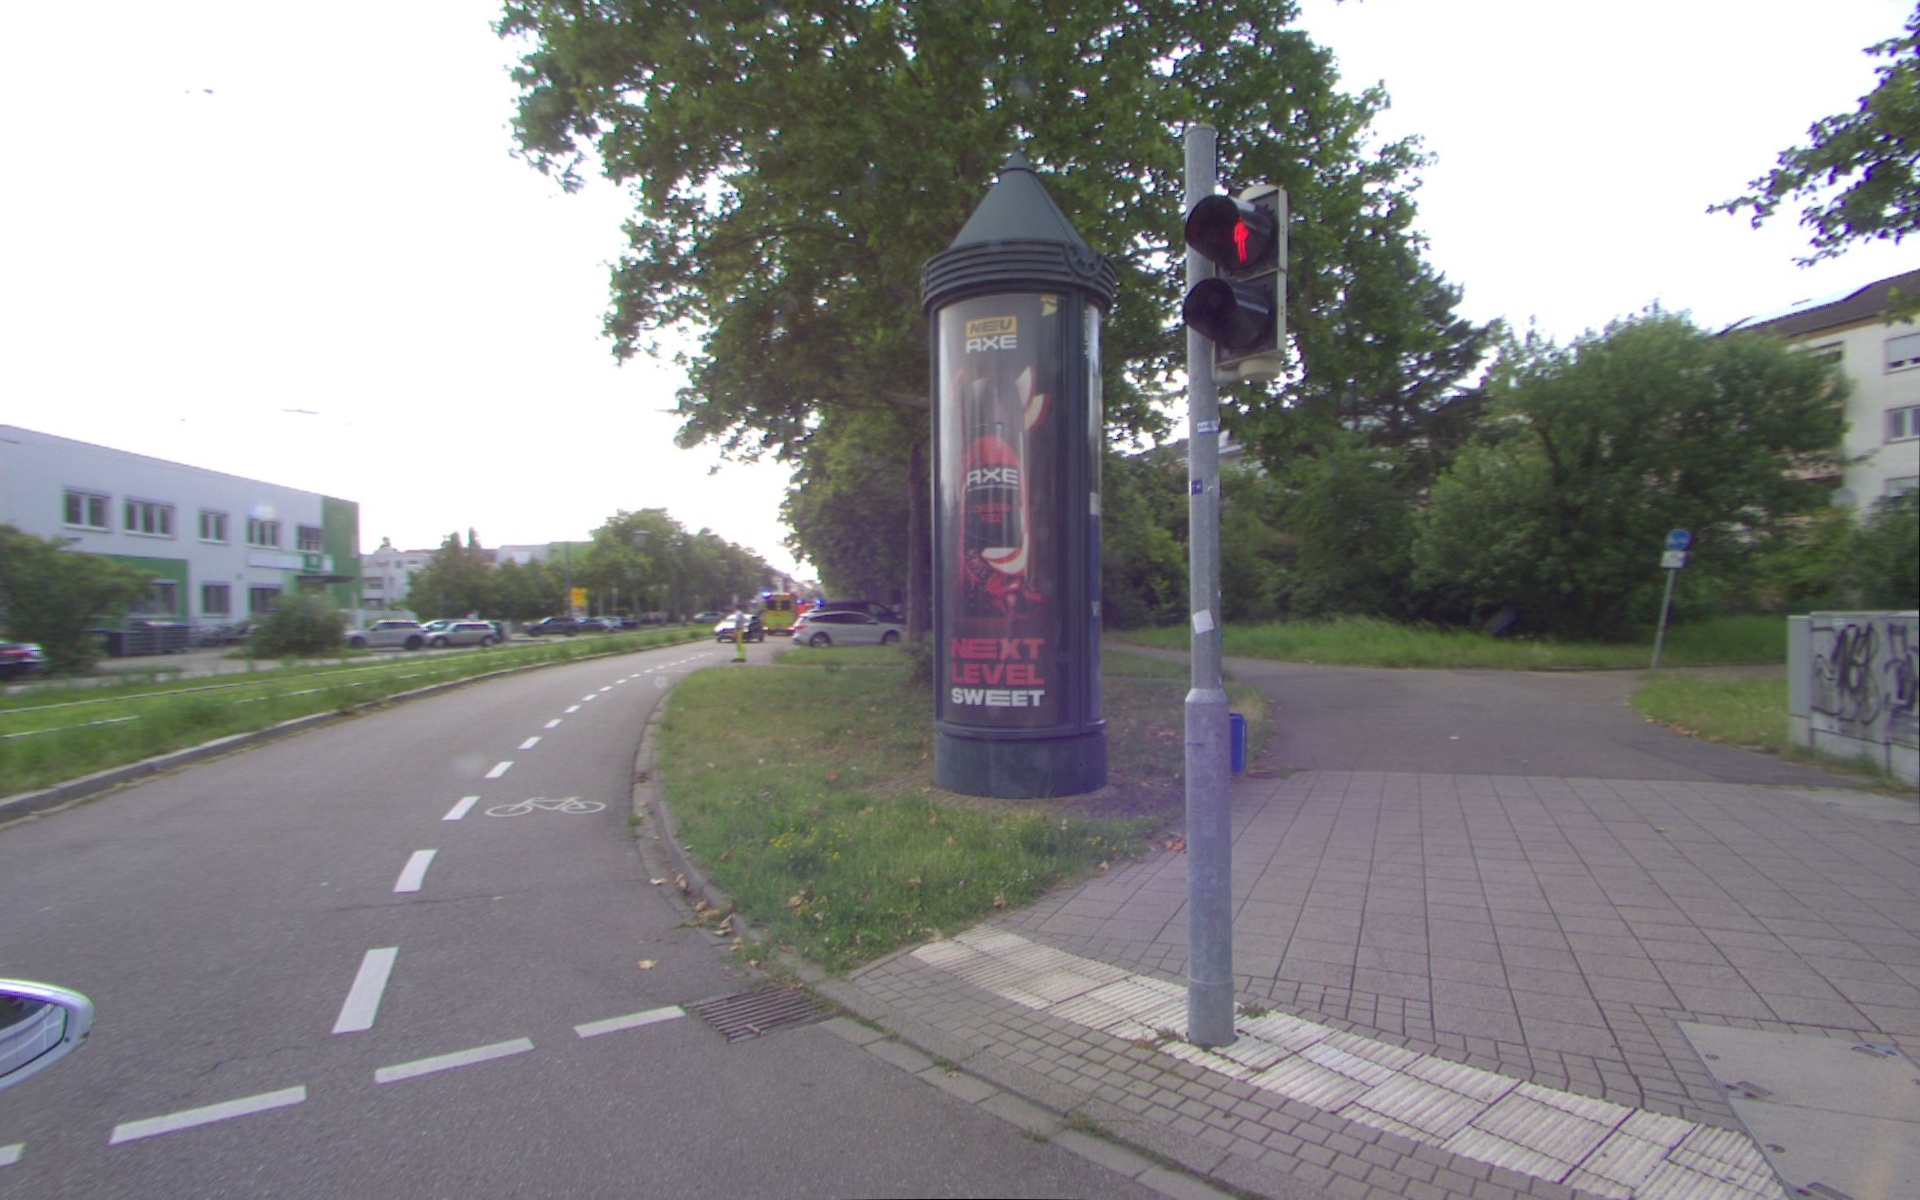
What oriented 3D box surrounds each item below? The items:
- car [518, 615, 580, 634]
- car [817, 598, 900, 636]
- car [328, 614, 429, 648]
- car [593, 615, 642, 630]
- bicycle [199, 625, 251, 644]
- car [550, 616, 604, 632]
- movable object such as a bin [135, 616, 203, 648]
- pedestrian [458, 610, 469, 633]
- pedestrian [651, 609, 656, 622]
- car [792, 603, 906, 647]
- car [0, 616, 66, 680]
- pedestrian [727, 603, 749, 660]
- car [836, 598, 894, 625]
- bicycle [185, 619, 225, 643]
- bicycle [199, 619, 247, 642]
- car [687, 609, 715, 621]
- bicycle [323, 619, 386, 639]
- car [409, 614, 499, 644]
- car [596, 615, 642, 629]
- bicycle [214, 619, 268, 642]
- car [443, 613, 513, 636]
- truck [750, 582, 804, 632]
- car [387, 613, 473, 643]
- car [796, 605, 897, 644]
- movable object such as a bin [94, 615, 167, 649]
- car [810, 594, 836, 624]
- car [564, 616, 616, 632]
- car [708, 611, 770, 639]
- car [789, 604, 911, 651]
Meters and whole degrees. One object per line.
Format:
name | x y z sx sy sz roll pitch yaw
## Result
car | -32.035 1.895 78.124 4.253 1.382 1.892 0 0 -30
car | -5.605 0.955 55.573 4.469 2.040 2.000 -1 -1 -5
car | -29.899 1.566 51.522 4.265 1.651 1.887 0 0 -39
car | -33.592 2.188 98.212 4.251 1.382 1.893 0 0 -28
bicycle | -38.239 1.788 52.138 2.117 0.983 0.731 -1 0 -2
car | -33.733 2.102 88.284 4.251 1.382 1.893 0 0 -28
movable object such as a bin | -34.825 1.378 44.126 1.350 1.344 2.131 -1 0 -2
pedestrian | -36.763 1.601 74.149 0.587 1.697 0.540 -1 0 -15
pedestrian | -43.516 2.230 142.223 0.610 1.752 0.646 1 0 -6
car | -4.492 1.021 40.529 4.457 1.665 2.000 -1 -1 -8
car | -26.194 1.280 25.610 4.508 1.601 1.992 -2 0 -26
pedestrian | -6.634 0.942 29.898 0.576 1.706 0.494 0 0 -5
car | -12.516 1.548 131.813 7.321 3.373 2.973 1 -1 -11
bicycle | -38.156 1.583 50.604 1.590 1.181 0.705 -1 0 11
bicycle | -36.627 1.501 49.789 1.763 1.096 0.736 -1 0 -8
car | -42.824 2.502 165.565 3.954 1.861 1.808 2 -1 -38
bicycle | -37.028 1.761 61.307 3.085 1.181 1.141 -1 0 -10
car | -28.199 1.596 55.853 4.262 1.650 1.888 1 -1 -37
car | -34.993 2.263 102.682 4.251 1.382 1.893 0 0 -28
bicycle | -38.105 1.611 53.067 2.306 1.181 0.760 -1 0 0
car | -32.074 1.599 66.619 4.108 1.523 1.852 0 -1 -28
truck | -13.120 0.516 72.339 3.132 3.361 7.521 -1 0 -5
car | -30.451 1.596 57.566 4.259 1.650 1.890 0 -1 -34
car | -5.180 1.108 45.665 4.457 1.665 2.000 -1 -1 -8
movable object such as a bin | -34.669 1.329 41.897 1.350 1.344 2.117 -1 0 -2
car | -16.079 1.119 118.002 2.918 3.373 7.458 1 -1 -7
car | -33.841 2.176 91.612 4.251 1.382 1.893 0 0 -28
car | -11.767 1.312 53.710 1.805 1.411 4.605 0 -1 7
car | -4.173 1.032 37.964 4.457 1.665 2.000 -1 -1 -8
